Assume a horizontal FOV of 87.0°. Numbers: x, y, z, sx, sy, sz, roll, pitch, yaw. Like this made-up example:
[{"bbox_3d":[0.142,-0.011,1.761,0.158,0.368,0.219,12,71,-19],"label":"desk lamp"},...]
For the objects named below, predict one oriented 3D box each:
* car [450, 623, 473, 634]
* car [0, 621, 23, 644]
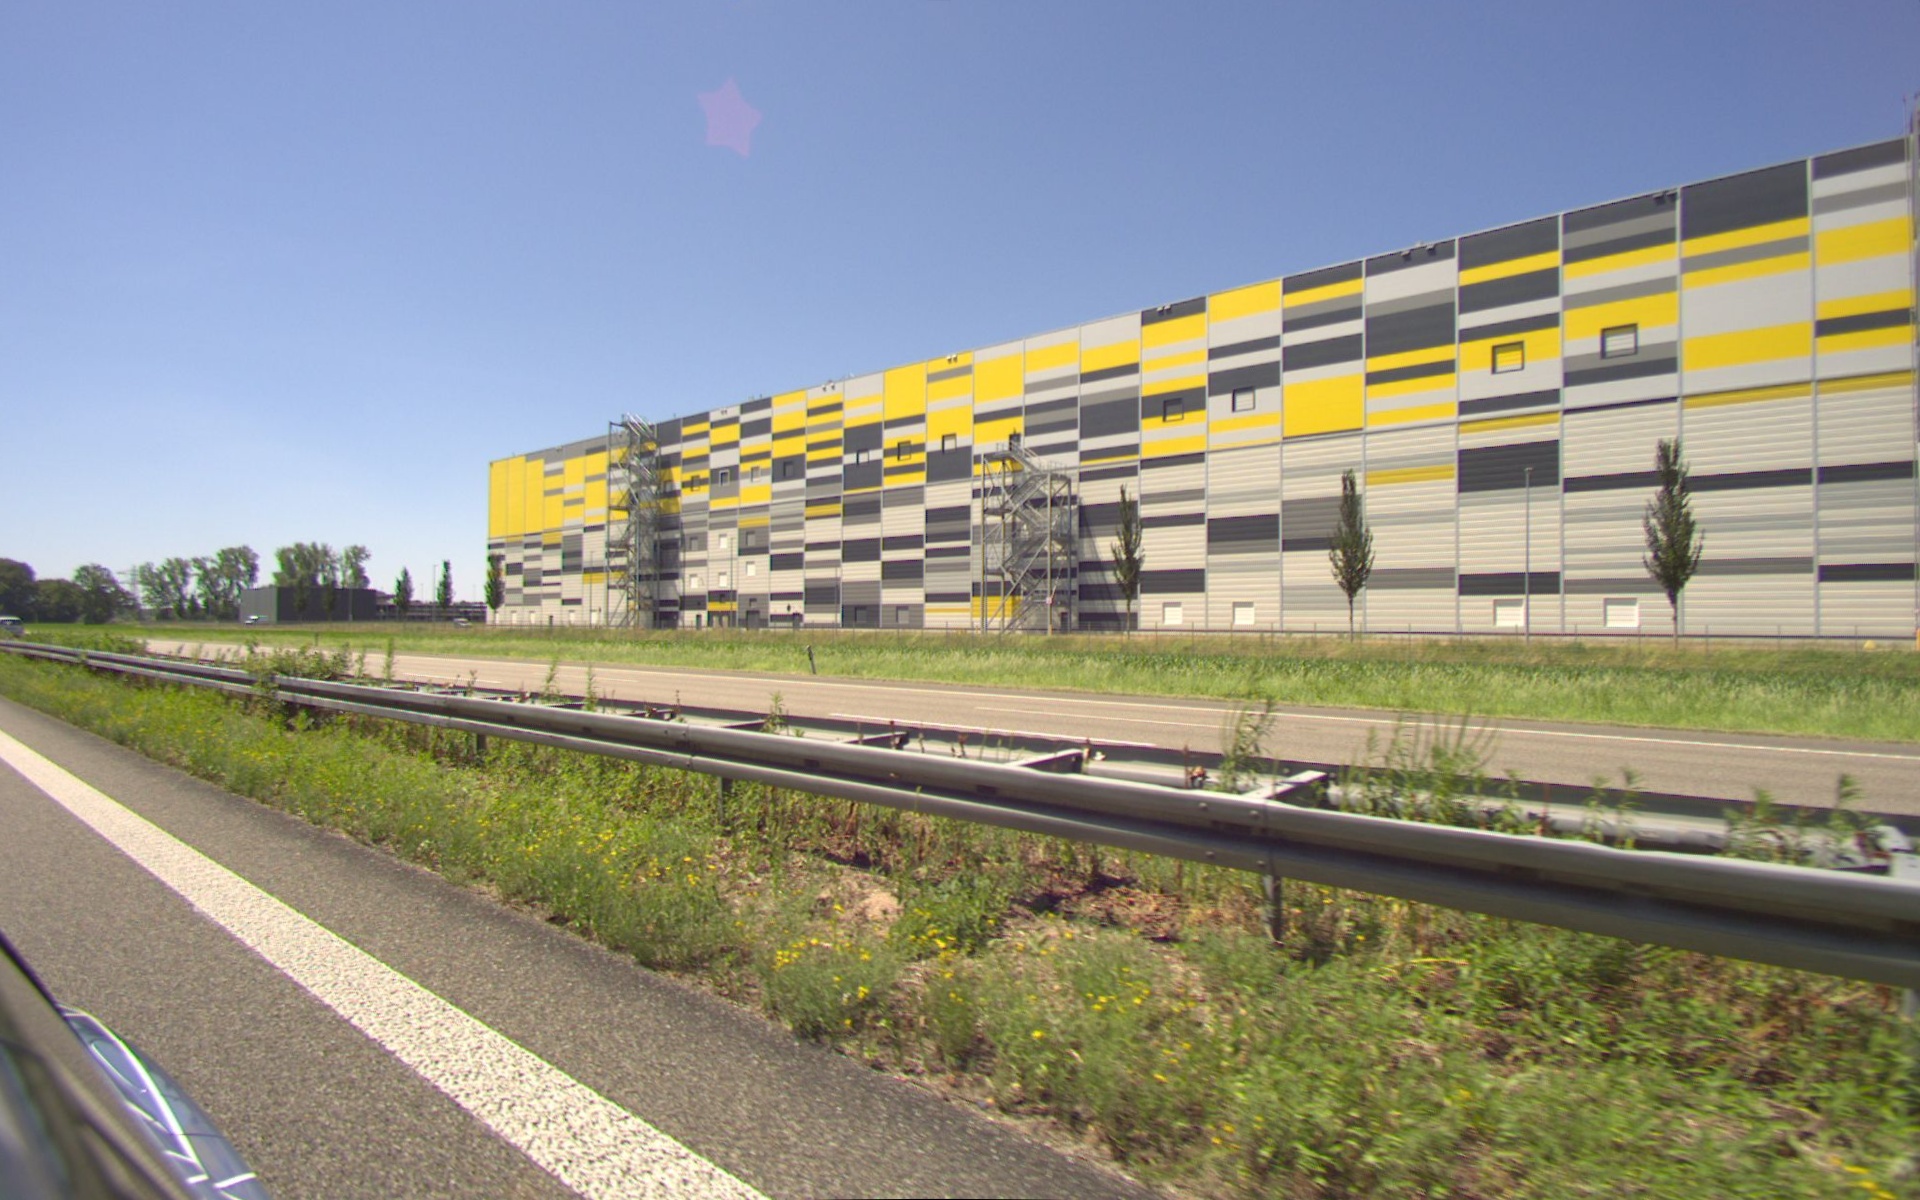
[{"bbox_3d":[-79.549,4.576,161.504,4.266,1.750,1.808,-1,-2,40],"label":"car"},{"bbox_3d":[-69.817,2.370,73.870,4.332,1.595,1.639,-1,-3,41],"label":"car"}]
